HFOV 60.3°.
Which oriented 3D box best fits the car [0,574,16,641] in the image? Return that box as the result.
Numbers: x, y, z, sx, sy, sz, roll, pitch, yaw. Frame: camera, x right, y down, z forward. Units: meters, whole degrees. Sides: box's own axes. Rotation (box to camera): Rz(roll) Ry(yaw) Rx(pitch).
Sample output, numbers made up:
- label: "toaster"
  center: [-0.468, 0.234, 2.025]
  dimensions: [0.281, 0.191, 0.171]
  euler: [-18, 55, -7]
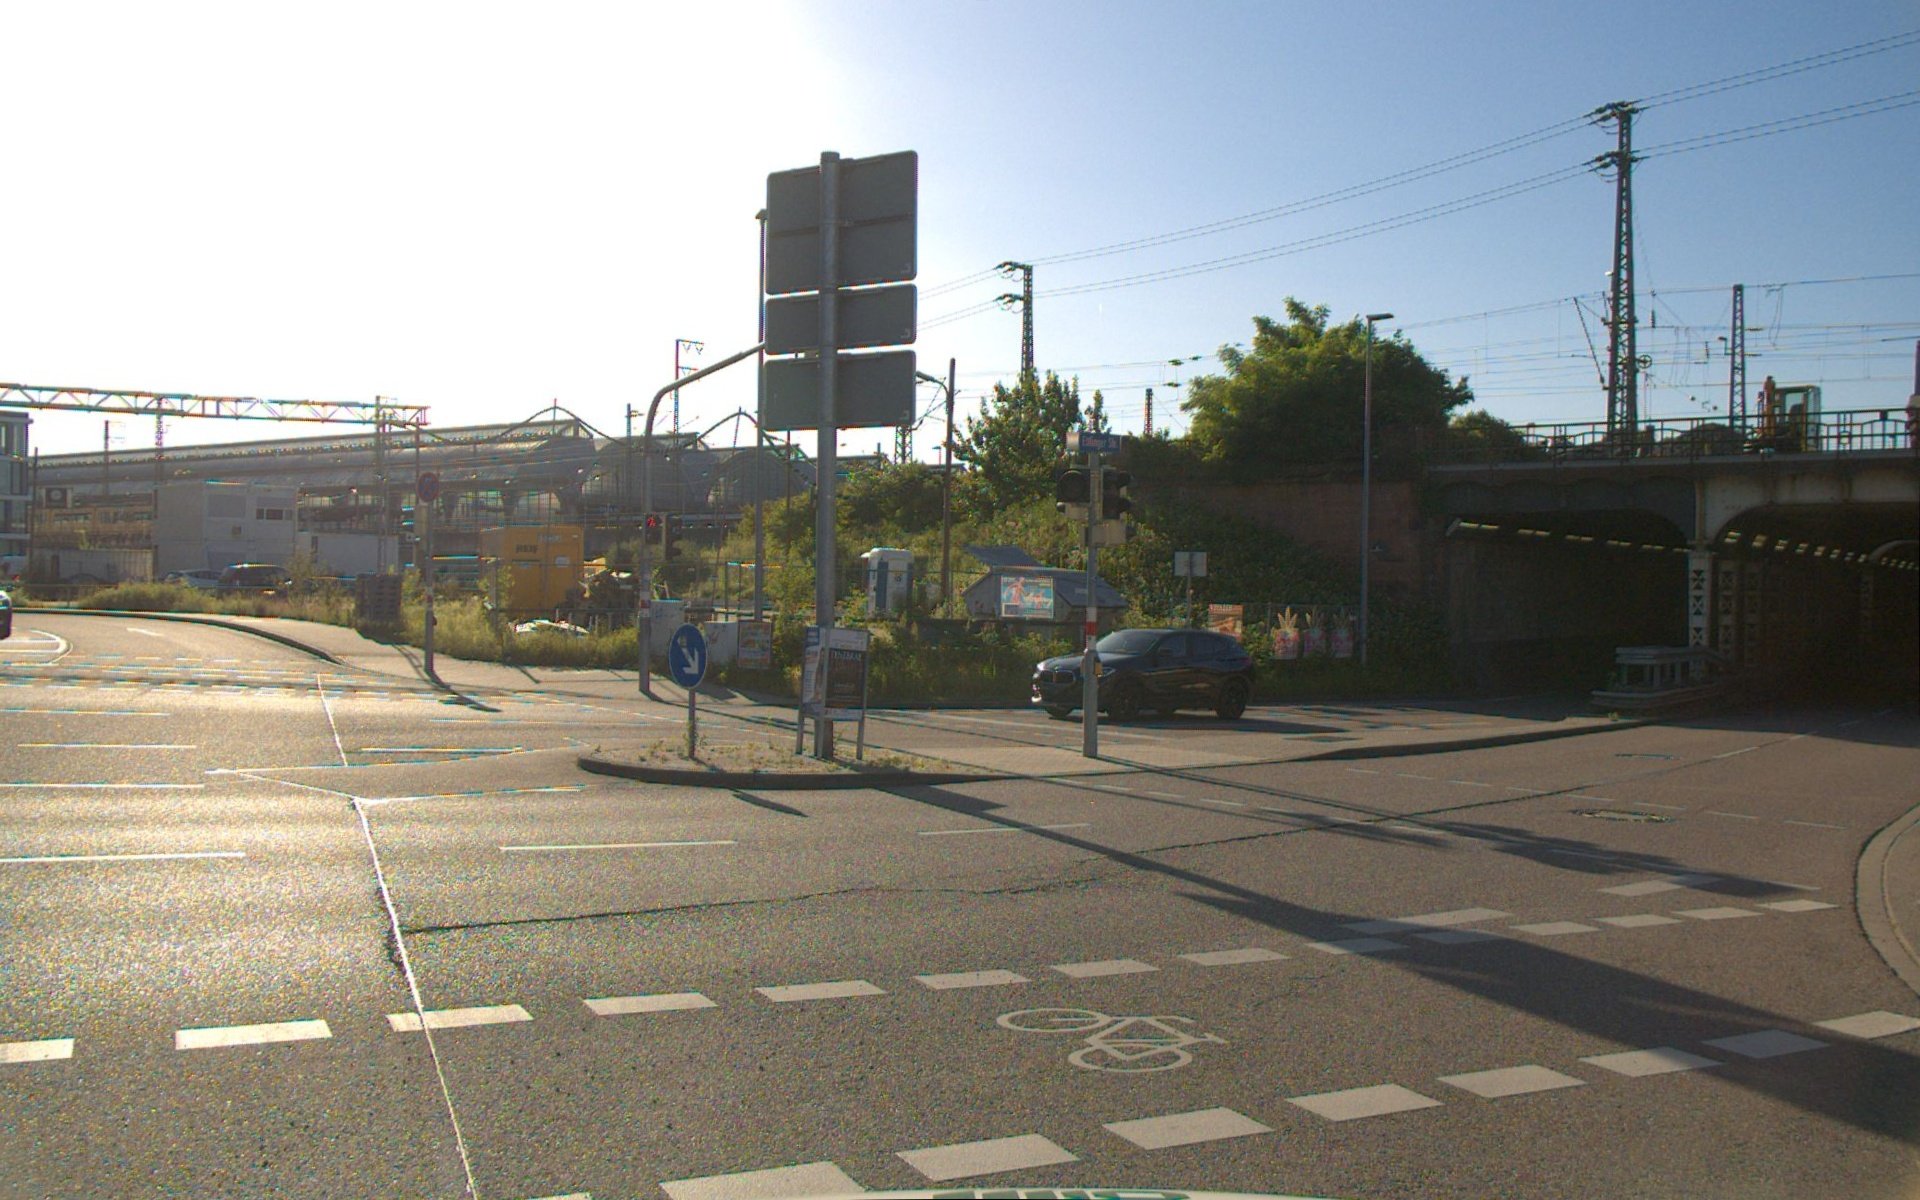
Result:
- label: "car"
  center: [-23.550, 0.131, 39.466]
  dimensions: [1.730, 1.502, 3.960]
  euler: [1, 0, -30]

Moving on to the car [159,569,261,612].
- label: "car"
  center: [-34.625, -0.435, 76.411]
  dimensions: [3.970, 1.819, 1.628]
  euler: [3, -1, -45]

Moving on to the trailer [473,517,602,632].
- label: "trailer"
  center: [-13.674, -0.766, 53.102]
  dimensions: [2.955, 3.349, 6.620]
  euler: [2, -1, -23]

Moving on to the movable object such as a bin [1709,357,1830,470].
- label: "movable object such as a bin"
  center: [20.987, -4.745, 42.756]
  dimensions: [1.961, 2.265, 4.811]
  euler: [2, -1, 36]

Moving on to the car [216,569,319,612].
- label: "car"
  center: [-31.149, -0.417, 74.467]
  dimensions: [3.970, 1.735, 1.589]
  euler: [3, -1, -45]

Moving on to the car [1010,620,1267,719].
- label: "car"
  center: [3.104, 1.161, 28.240]
  dimensions: [4.346, 1.544, 1.928]
  euler: [2, -1, -41]
